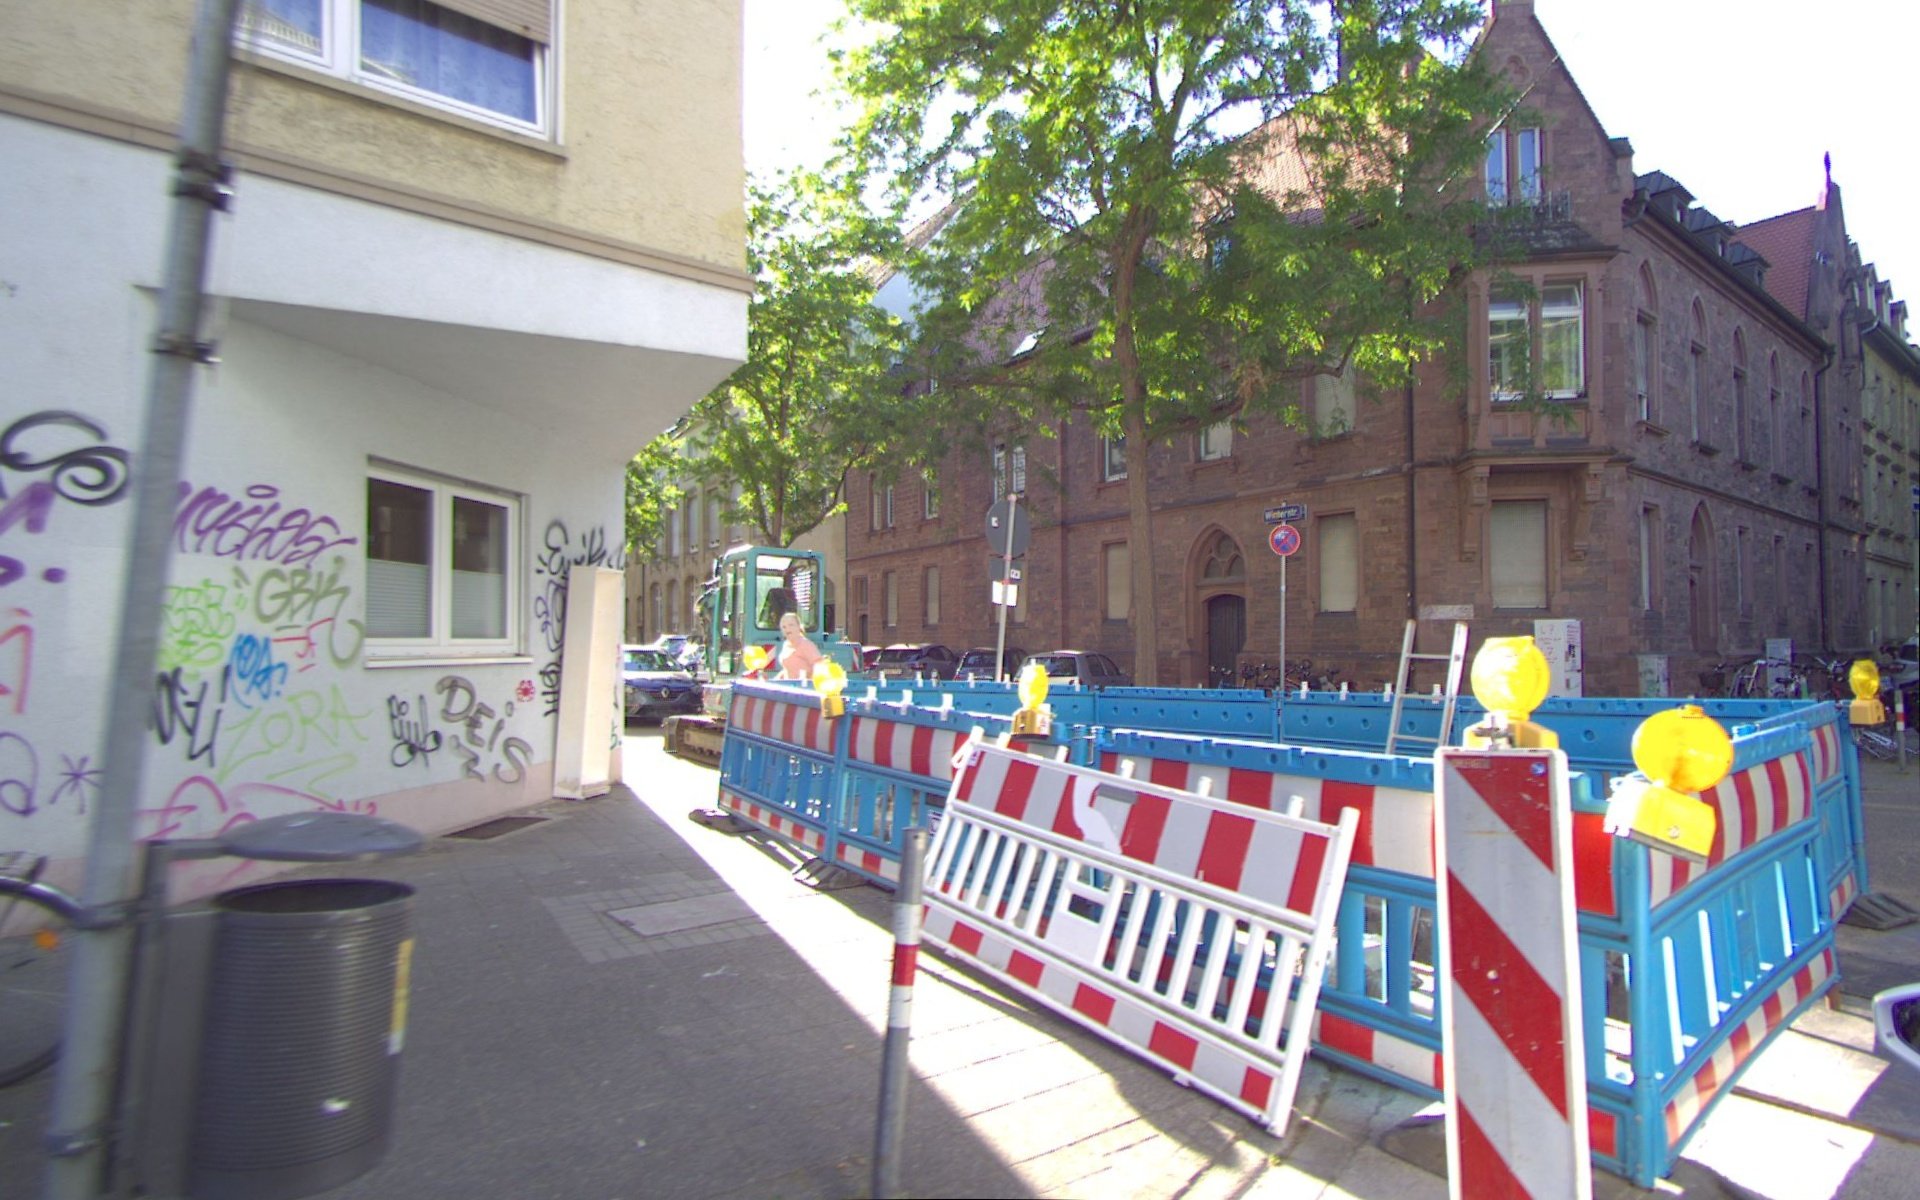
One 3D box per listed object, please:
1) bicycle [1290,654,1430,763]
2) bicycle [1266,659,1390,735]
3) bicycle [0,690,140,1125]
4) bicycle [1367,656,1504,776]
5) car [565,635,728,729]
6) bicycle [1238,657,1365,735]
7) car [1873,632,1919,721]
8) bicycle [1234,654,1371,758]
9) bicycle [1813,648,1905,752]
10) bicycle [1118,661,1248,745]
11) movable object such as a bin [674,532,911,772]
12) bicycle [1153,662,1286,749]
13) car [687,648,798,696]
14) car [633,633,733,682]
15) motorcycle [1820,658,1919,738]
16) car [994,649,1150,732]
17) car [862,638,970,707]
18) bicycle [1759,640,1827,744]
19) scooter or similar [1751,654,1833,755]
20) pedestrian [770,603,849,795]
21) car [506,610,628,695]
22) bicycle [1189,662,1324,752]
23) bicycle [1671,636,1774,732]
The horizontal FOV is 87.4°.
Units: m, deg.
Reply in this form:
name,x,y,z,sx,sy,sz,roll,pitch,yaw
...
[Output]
name,x,y,z,sx,sy,sz,roll,pitch,yaw
bicycle,5.687,1.477,14.202,2.423,1.338,0.678,0,-2,-38
bicycle,6.318,1.639,17.351,0.679,1.195,1.949,0,-2,-37
bicycle,-3.487,0.927,2.670,2.013,1.243,0.396,0,-2,-40
bicycle,6.109,1.429,12.848,2.123,1.338,0.678,0,-2,-38
car,-6.122,1.525,19.300,1.889,1.587,4.167,4,-4,-33
bicycle,5.703,1.580,16.888,0.679,1.195,1.948,0,-2,-37
car,20.387,1.536,20.532,3.965,1.729,1.868,2,-5,-38
bicycle,5.102,1.518,14.881,2.423,1.338,0.678,0,-2,-38
bicycle,12.887,1.374,14.466,0.674,1.362,2.494,-2,-3,35
bicycle,3.699,1.656,16.554,2.422,1.195,0.678,0,-2,-38
movable object such as a bin,-2.196,0.642,12.768,2.049,2.635,2.736,1,-3,-34
bicycle,4.163,1.641,15.992,2.422,1.195,0.678,0,-2,-38
car,-7.592,2.501,35.449,1.825,1.588,3.998,-1,-3,24
car,-11.341,2.347,41.368,1.825,1.928,3.998,-1,-3,24
motorcycle,15.408,1.589,16.632,0.653,1.222,2.313,0,-3,9
car,2.424,1.767,20.656,1.826,1.503,4.267,-1,-3,27
car,-1.027,1.800,25.681,1.822,1.613,4.003,-1,-3,12
bicycle,12.531,1.328,15.160,0.565,1.442,2.494,-2,-3,35
scooter or similar,11.300,1.390,13.631,1.288,1.294,0.526,2,-3,-36
pedestrian,-1.446,0.930,9.664,0.554,1.763,0.519,2,-3,-43
car,-10.171,1.350,25.802,1.979,1.964,4.570,2,-3,-34
bicycle,4.593,1.597,15.435,2.422,1.195,0.678,0,-2,-38
bicycle,12.371,1.321,16.255,2.774,1.442,0.677,2,-3,-39
